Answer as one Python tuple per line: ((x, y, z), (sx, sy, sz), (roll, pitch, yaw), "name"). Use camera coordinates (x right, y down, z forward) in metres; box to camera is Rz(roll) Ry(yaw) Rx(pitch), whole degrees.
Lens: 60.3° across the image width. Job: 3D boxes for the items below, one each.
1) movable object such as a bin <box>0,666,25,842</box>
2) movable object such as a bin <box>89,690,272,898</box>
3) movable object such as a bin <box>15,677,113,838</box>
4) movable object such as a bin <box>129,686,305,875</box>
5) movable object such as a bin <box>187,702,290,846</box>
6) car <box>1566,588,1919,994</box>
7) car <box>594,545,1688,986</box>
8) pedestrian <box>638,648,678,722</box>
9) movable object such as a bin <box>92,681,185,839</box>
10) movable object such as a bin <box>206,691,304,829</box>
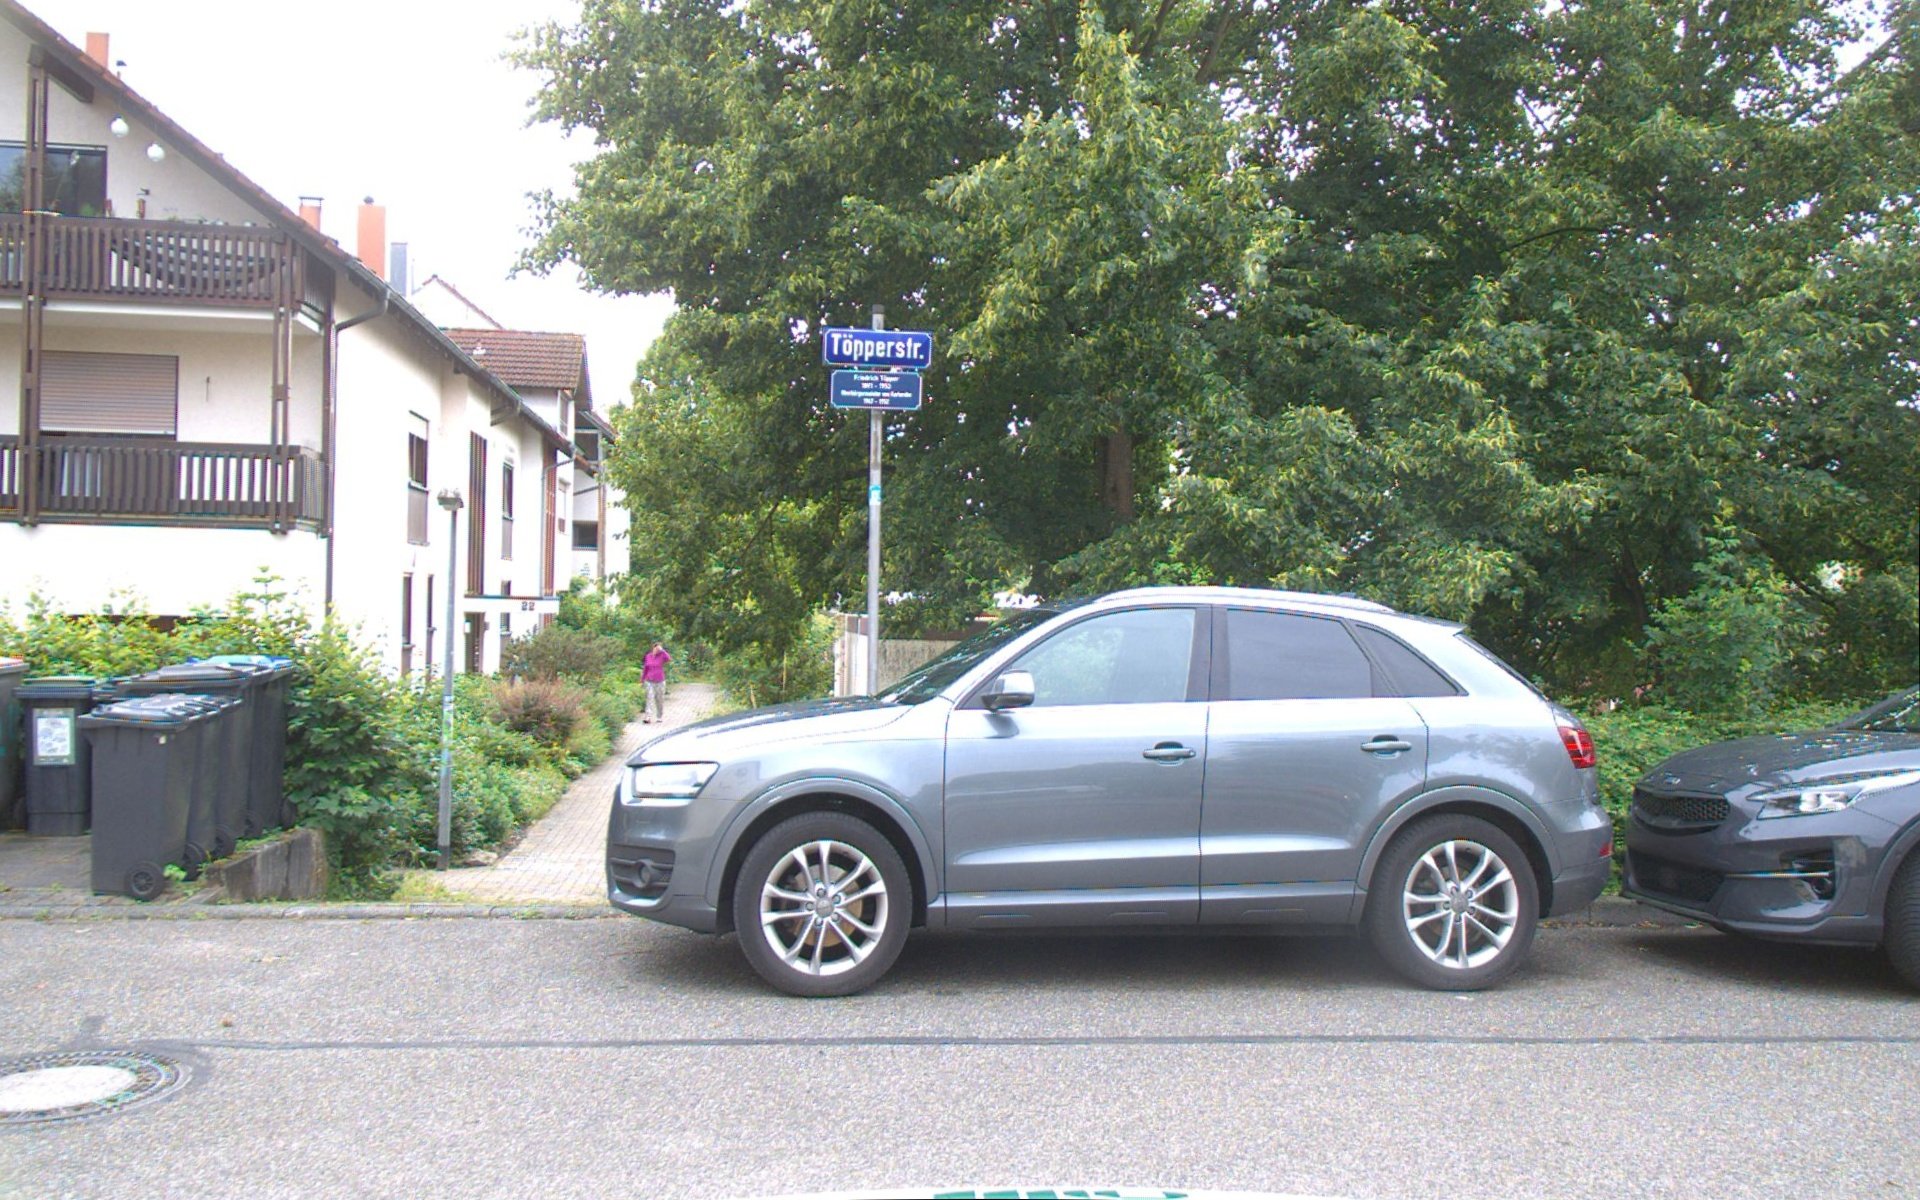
((-5.856, 0.898, 9.709), (0.527, 1.011, 0.337), (2, 0, -10), "movable object such as a bin")
((-3.976, 0.975, 8.484), (0.626, 0.970, 0.721), (2, 0, -8), "movable object such as a bin")
((-5.327, 0.931, 9.844), (0.379, 0.917, 0.378), (2, 0, -10), "movable object such as a bin")
((-4.109, 0.989, 9.190), (0.720, 0.970, 0.583), (2, 0, -8), "movable object such as a bin")
((-4.295, 1.032, 9.865), (0.450, 0.811, 0.378), (2, 0, -8), "movable object such as a bin")
((5.060, 0.798, 7.366), (4.098, 1.558, 1.746), (1, -2, -3), "car")
((0.667, 0.652, 7.017), (4.157, 1.558, 1.744), (1, -2, -8), "car")
((-6.388, 1.795, 34.978), (0.800, 1.544, 0.437), (1, -1, -10), "pedestrian")
((-4.919, 0.953, 9.917), (0.379, 0.905, 0.378), (2, 0, -10), "movable object such as a bin")
((-4.378, 0.990, 10.291), (0.450, 0.811, 0.378), (2, 0, -8), "movable object such as a bin")
